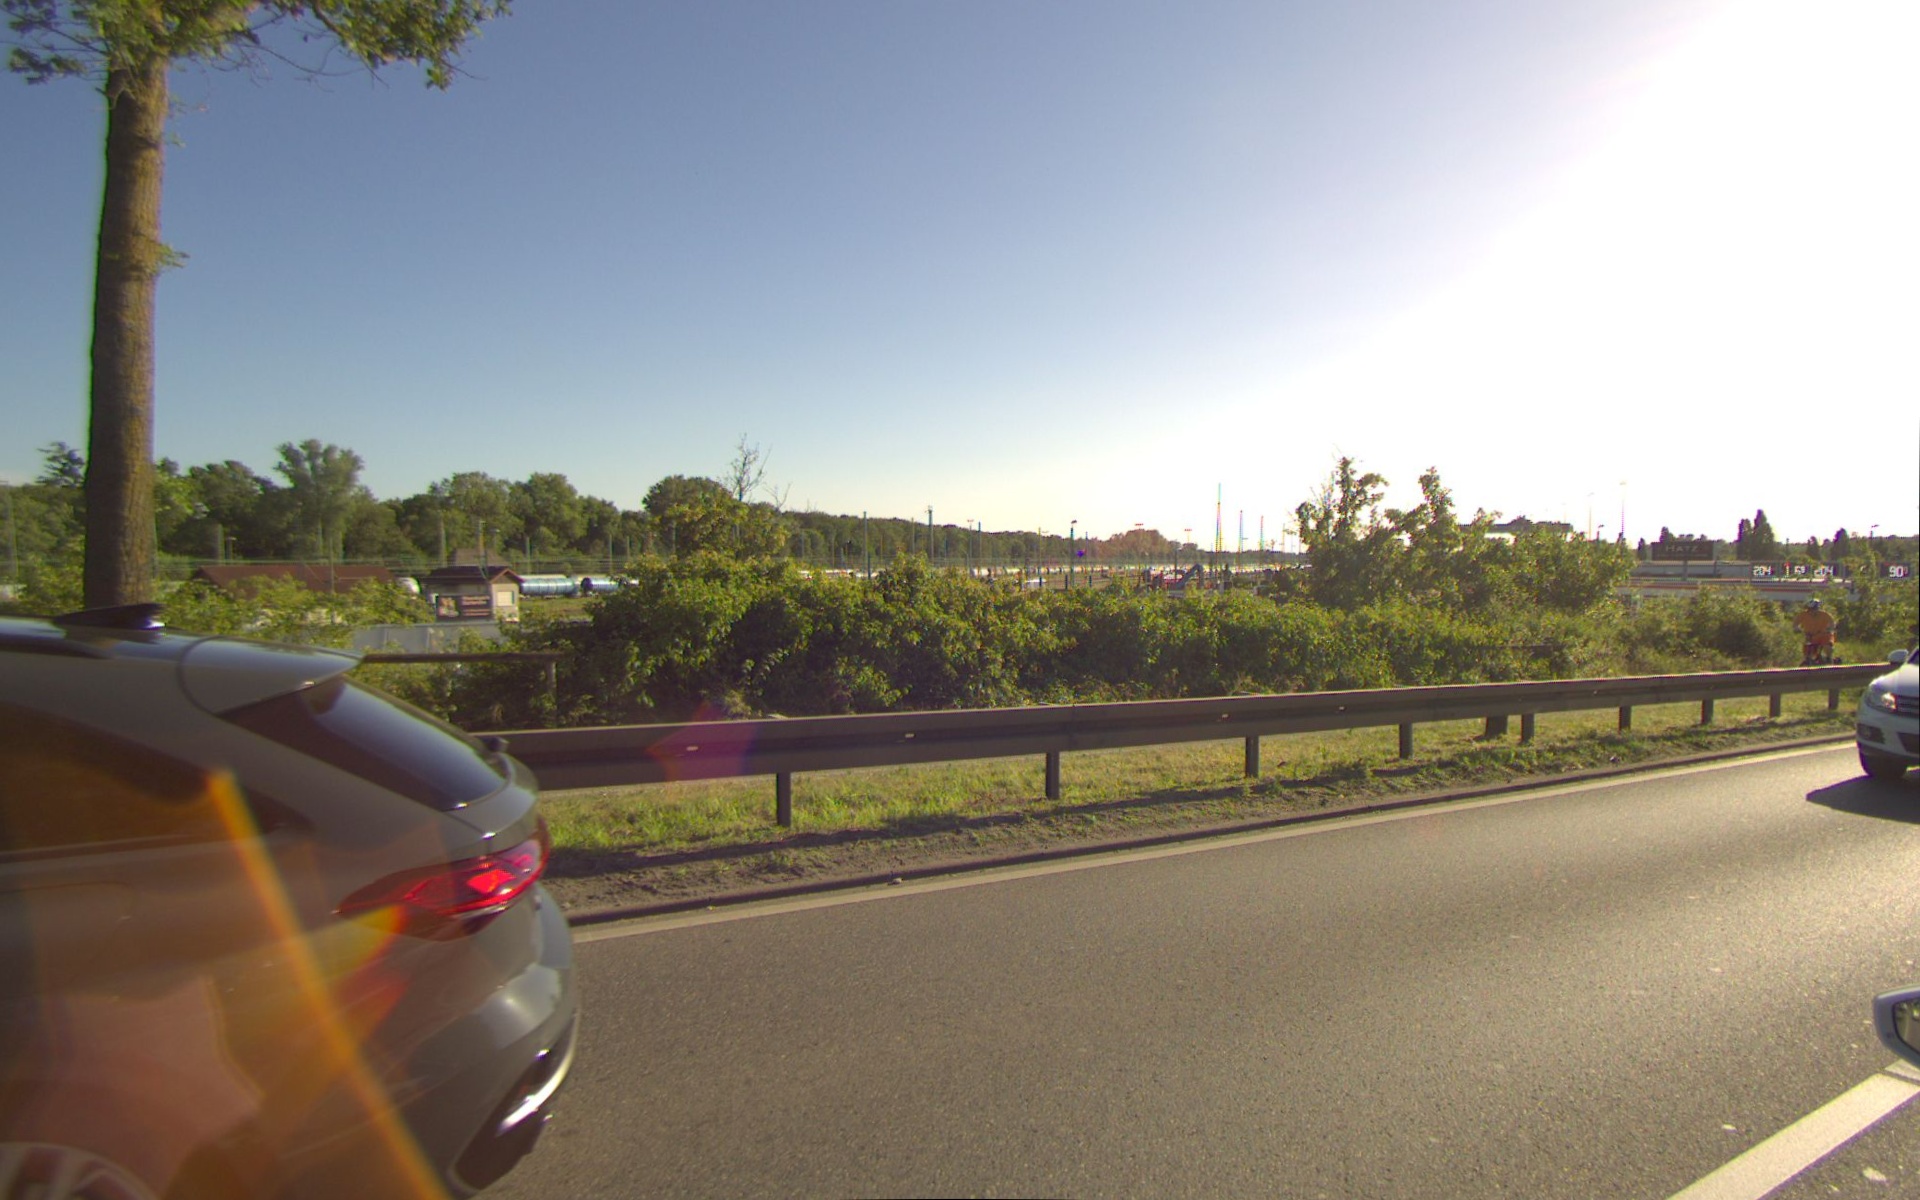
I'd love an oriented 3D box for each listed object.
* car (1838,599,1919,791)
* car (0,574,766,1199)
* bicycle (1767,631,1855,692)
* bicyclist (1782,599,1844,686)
[{"bbox_3d":[10.283,0.872,9.605,3.937,1.680,1.720,1,1,-31],"label":"car"},{"bbox_3d":[-2.885,0.687,1.754,4.661,1.512,1.840,1,1,-31],"label":"car"},{"bbox_3d":[16.645,1.177,19.634,2.084,1.110,0.657,1,1,-31],"label":"bicycle"},{"bbox_3d":[16.677,0.811,19.643,0.864,1.645,0.648,1,1,-31],"label":"bicyclist"}]
